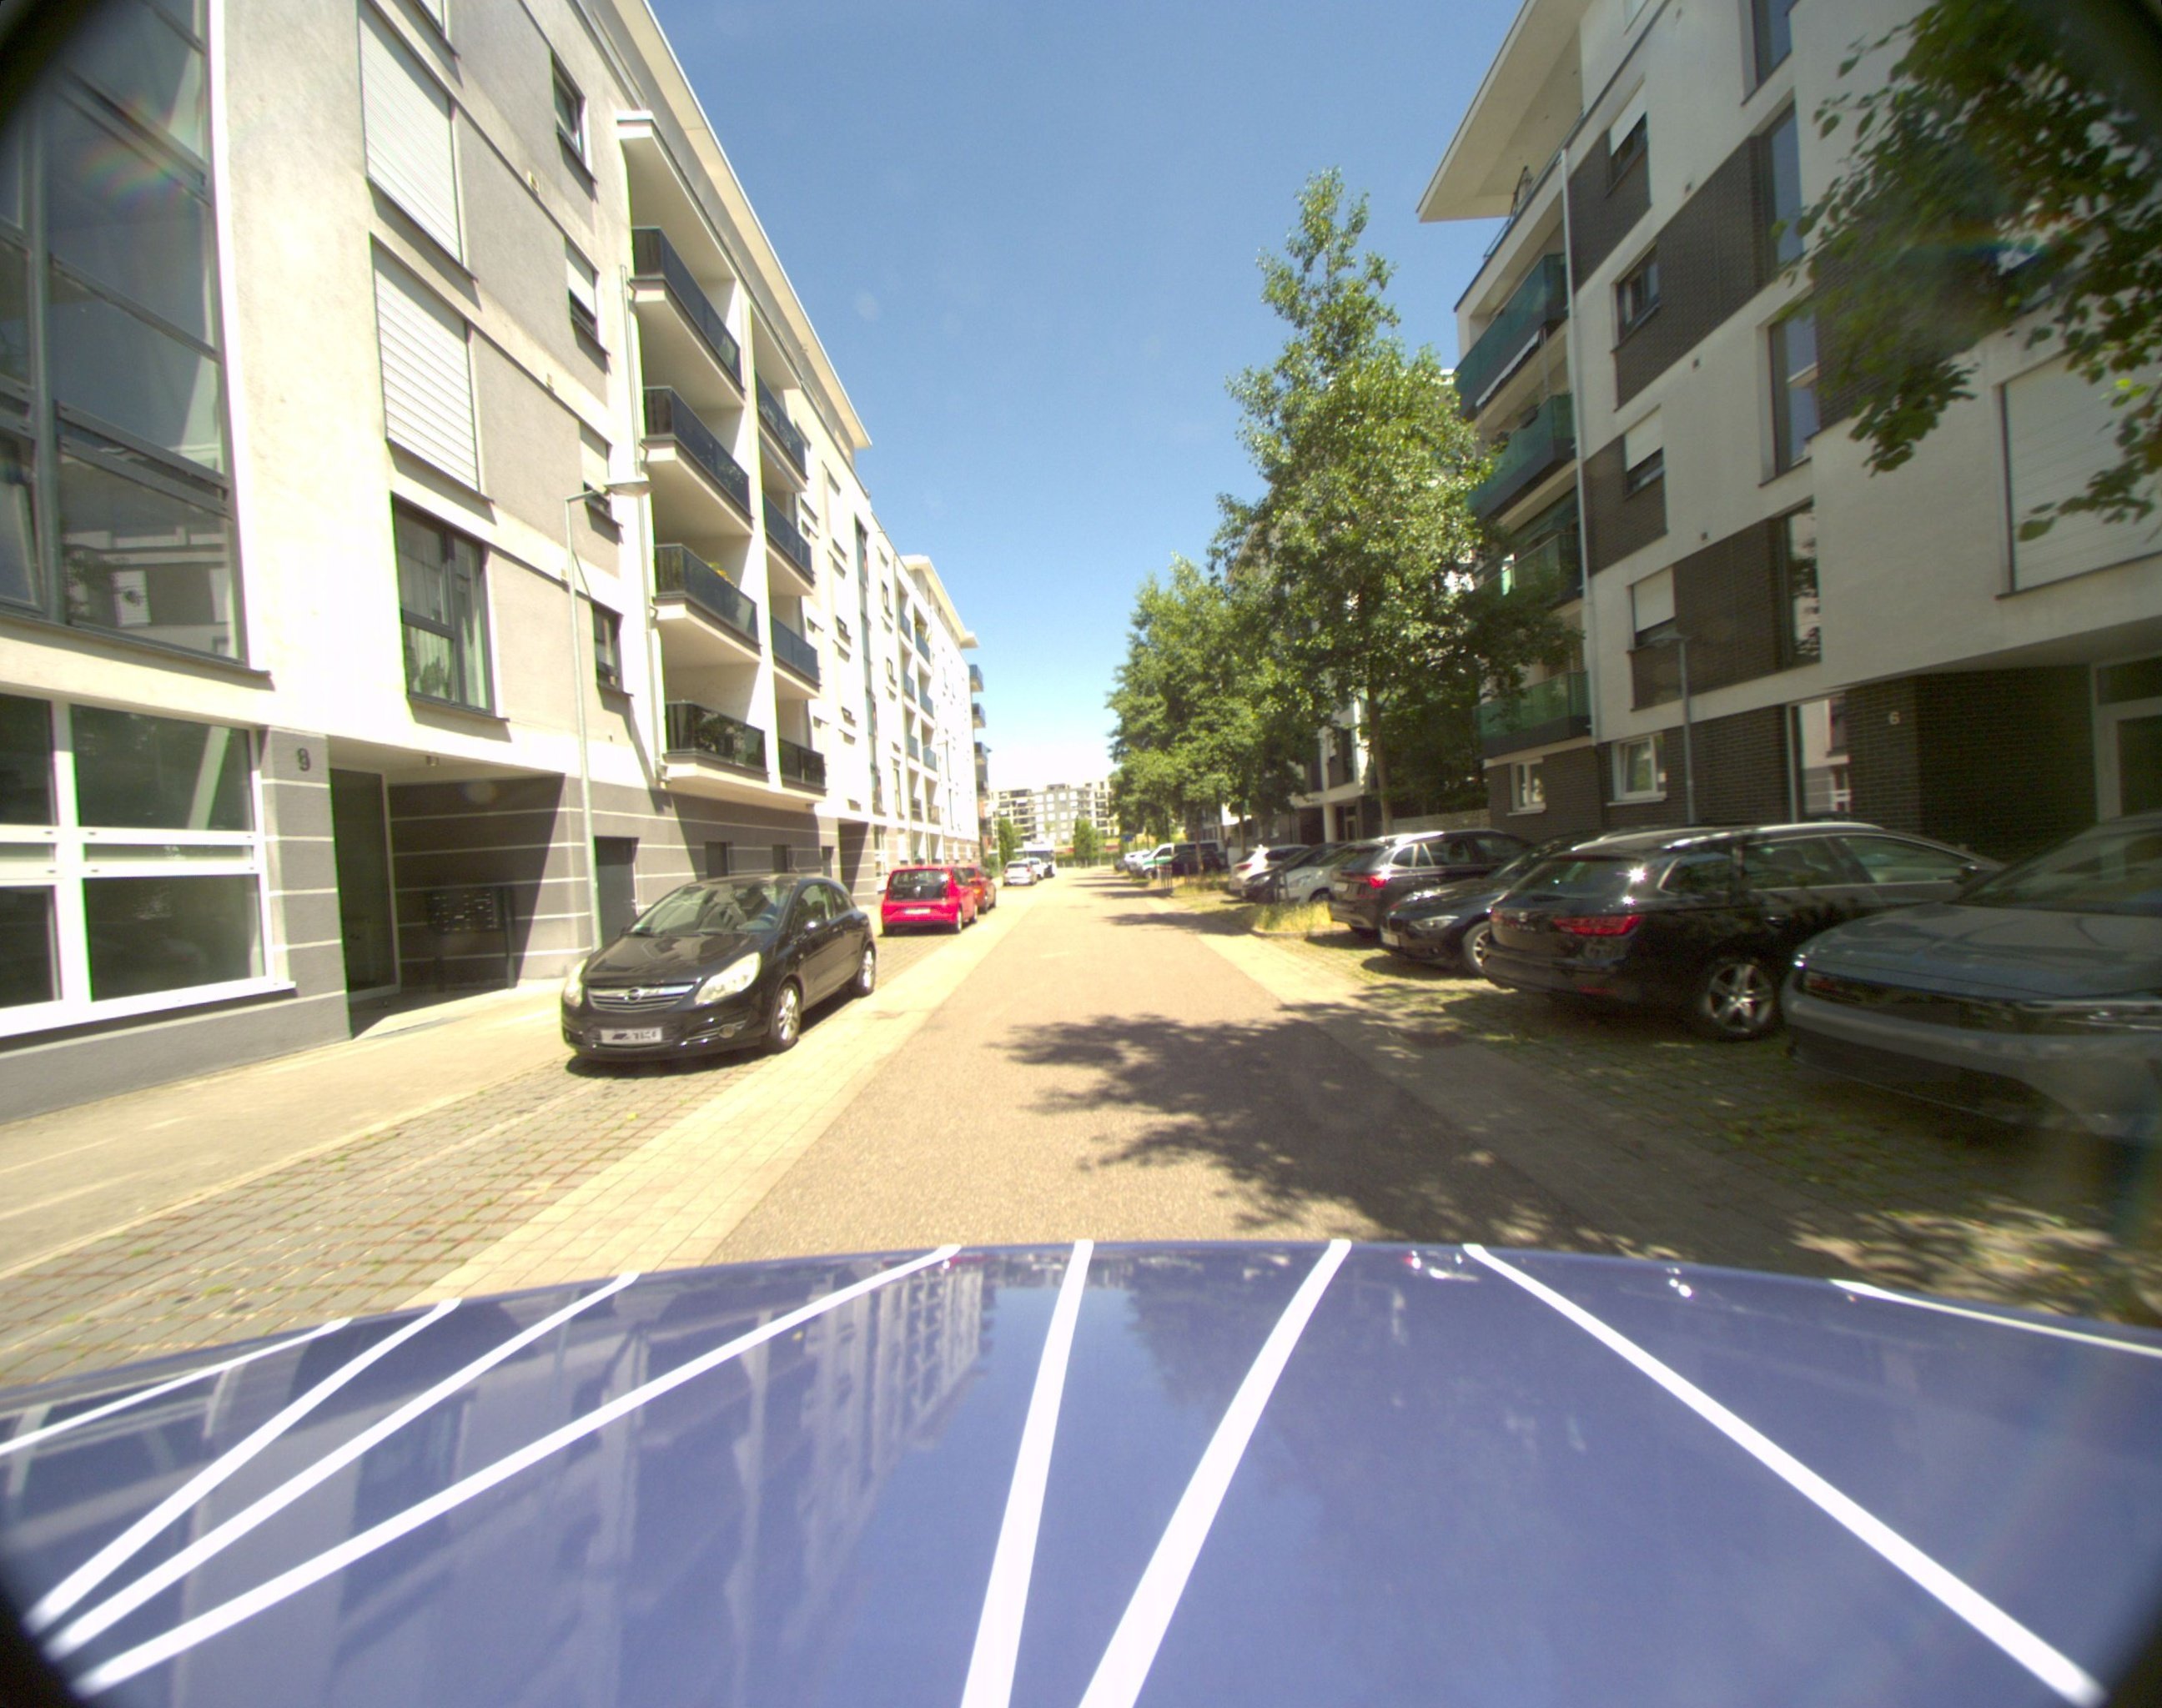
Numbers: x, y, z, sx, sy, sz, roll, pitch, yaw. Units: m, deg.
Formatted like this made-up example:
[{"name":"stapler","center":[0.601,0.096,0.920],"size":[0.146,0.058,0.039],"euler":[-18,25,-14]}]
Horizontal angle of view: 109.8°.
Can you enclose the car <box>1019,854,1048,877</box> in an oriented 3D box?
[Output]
[{"name":"car","center":[-3.256,0.774,52.877],"size":[1.812,1.496,4.259],"euler":[-2,0,-2]}]

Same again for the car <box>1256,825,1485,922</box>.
[{"name":"car","center":[5.960,0.378,16.000],"size":[3.997,1.582,1.884],"euler":[-5,0,1]}]

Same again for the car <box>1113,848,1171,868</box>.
[{"name":"car","center":[5.672,0.350,70.724],"size":[5.112,1.476,1.927],"euler":[-4,1,-2]}]

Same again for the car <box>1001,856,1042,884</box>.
[{"name":"car","center":[-3.374,0.881,43.865],"size":[1.850,1.408,4.425],"euler":[-4,1,1]}]

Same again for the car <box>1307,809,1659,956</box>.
[{"name":"car","center":[5.647,0.376,11.091],"size":[3.997,1.620,1.933],"euler":[-5,1,0]}]

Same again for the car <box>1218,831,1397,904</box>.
[{"name":"car","center":[6.155,0.353,21.006],"size":[4.263,1.509,1.924],"euler":[-6,1,0]}]

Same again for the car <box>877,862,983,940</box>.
[{"name":"car","center":[-3.281,0.973,17.160],"size":[1.599,1.477,3.675],"euler":[-2,0,0]}]

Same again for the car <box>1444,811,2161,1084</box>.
[{"name":"car","center":[5.285,0.596,5.925],"size":[3.985,1.437,1.775],"euler":[-5,1,-4]}]

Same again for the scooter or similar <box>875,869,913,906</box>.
[{"name":"scooter or similar","center":[-6.751,1.208,27.510],"size":[0.546,1.218,1.531],"euler":[-4,0,15]}]

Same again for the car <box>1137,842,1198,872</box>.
[{"name":"car","center":[5.697,0.204,50.446],"size":[3.689,1.666,1.852],"euler":[-5,1,0]}]

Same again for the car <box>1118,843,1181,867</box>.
[{"name":"car","center":[5.891,0.079,65.660],"size":[5.042,1.623,2.042],"euler":[-4,0,-2]}]

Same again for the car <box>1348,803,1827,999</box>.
[{"name":"car","center":[5.396,0.470,8.567],"size":[3.996,1.641,1.918],"euler":[-5,1,2]}]

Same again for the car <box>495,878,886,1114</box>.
[{"name":"car","center":[-3.260,1.067,7.392],"size":[1.647,1.454,4.117],"euler":[-2,0,0]}]

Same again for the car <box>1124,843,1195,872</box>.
[{"name":"car","center":[5.456,0.239,53.085],"size":[4.571,1.585,1.965],"euler":[-5,1,-5]}]

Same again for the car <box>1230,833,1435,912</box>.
[{"name":"car","center":[6.027,0.430,18.561],"size":[4.327,1.467,1.792],"euler":[-5,0,0]}]

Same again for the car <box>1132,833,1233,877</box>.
[{"name":"car","center":[5.654,0.060,42.905],"size":[5.355,2.098,2.187],"euler":[-3,1,2]}]

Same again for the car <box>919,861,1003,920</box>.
[{"name":"car","center":[-3.475,1.002,22.697],"size":[1.742,1.478,4.258],"euler":[-2,0,0]}]

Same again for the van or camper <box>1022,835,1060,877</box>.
[{"name":"van or camper","center":[-3.041,0.074,59.155],"size":[2.445,2.889,7.824],"euler":[-4,1,-1]}]

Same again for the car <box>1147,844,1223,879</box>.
[{"name":"car","center":[5.455,0.391,40.119],"size":[3.632,1.473,1.678],"euler":[-5,1,-1]}]

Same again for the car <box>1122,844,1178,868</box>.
[{"name":"car","center":[5.711,0.176,62.941],"size":[4.263,1.522,1.822],"euler":[-5,0,-3]}]

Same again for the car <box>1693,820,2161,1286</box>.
[{"name":"car","center":[5.596,0.571,3.446],"size":[3.997,1.414,1.897],"euler":[-5,0,1]}]

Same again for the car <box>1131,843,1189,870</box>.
[{"name":"car","center":[5.738,0.167,55.715],"size":[3.990,1.620,1.949],"euler":[-5,1,2]}]
